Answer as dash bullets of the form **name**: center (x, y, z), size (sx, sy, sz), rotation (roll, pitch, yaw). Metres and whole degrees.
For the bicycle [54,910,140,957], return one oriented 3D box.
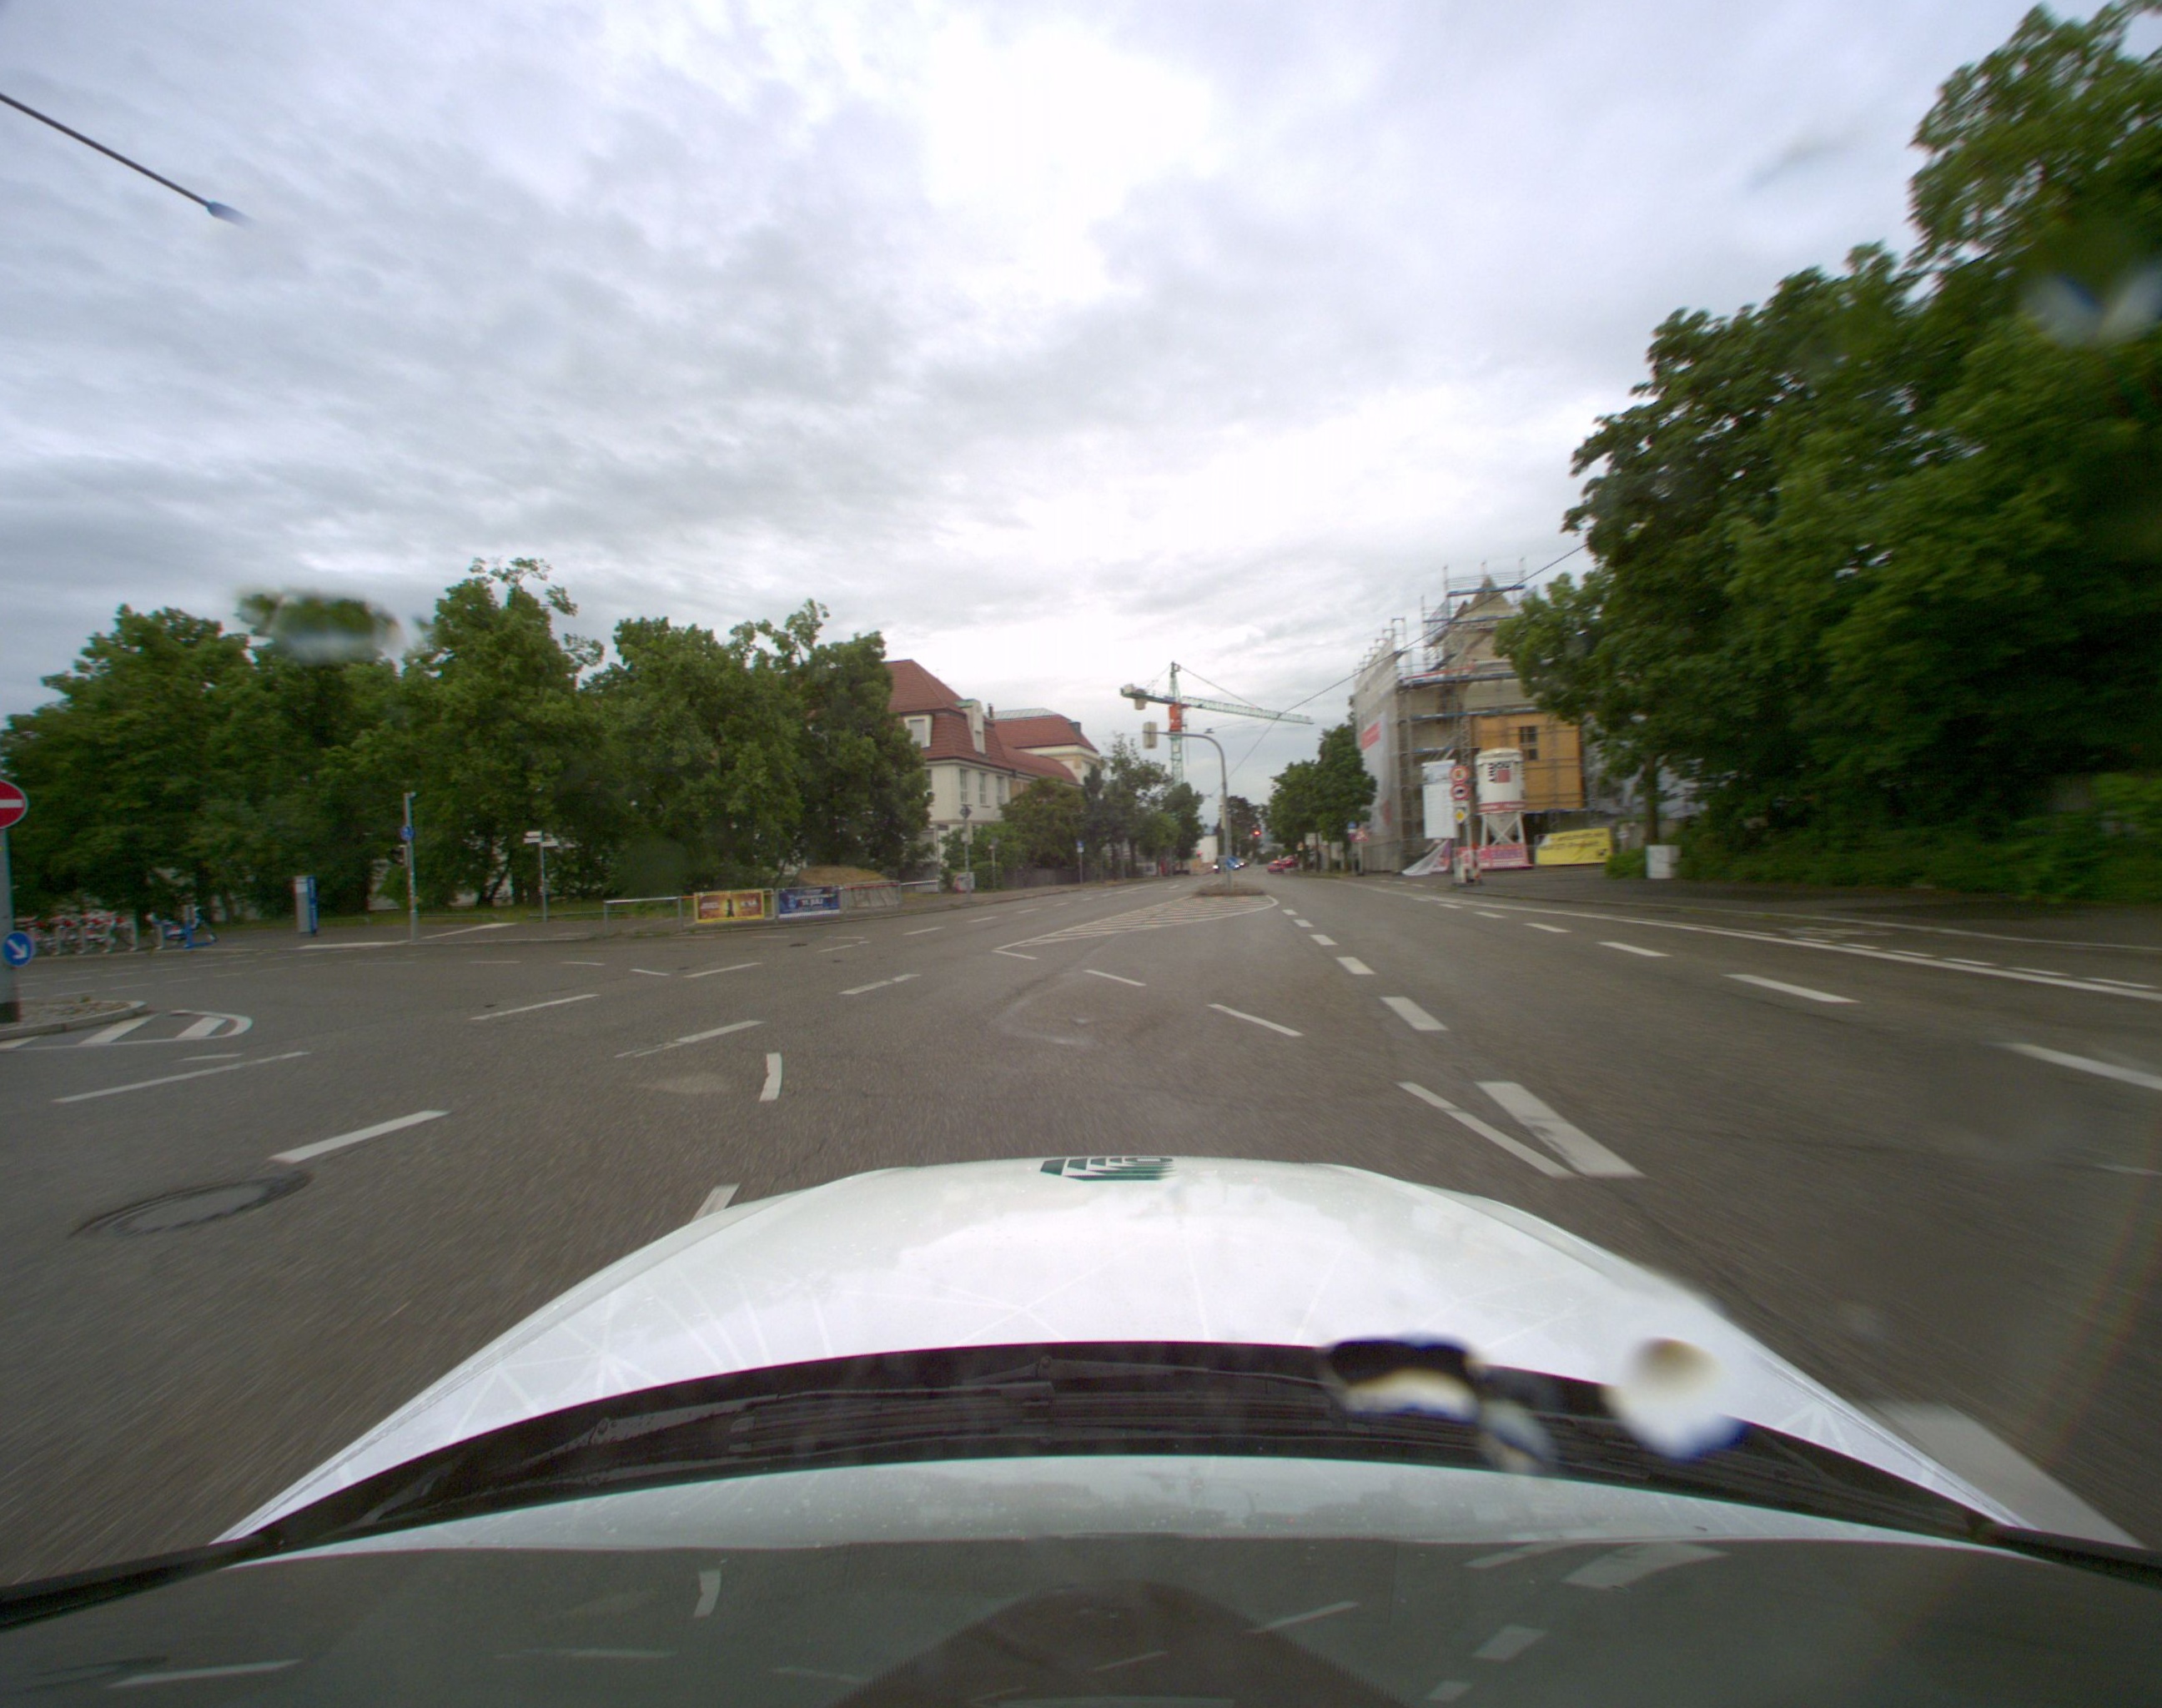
- **bicycle**: center (-29.393, 2.362, 24.363), size (0.552, 1.131, 1.492), rotation (-4, 3, 5)

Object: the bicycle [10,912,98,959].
- **bicycle**: center (-30.948, 2.443, 24.563), size (0.552, 1.131, 1.492), rotation (-4, 3, 5)

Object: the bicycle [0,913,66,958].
- **bicycle**: center (-32.086, 2.480, 24.681), size (0.552, 1.131, 1.492), rotation (-4, 3, 5)

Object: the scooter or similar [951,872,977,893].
- **scooter or similar**: center (-5.547, 1.362, 38.595), size (1.095, 0.954, 0.532), rotation (0, -2, -39)

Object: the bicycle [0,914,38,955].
- **bicycle**: center (-33.052, 2.510, 24.747), size (0.552, 1.131, 1.492), rotation (-4, 3, 5)

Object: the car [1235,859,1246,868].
- **car**: center (28.627, 1.658, 146.343), size (1.488, 1.448, 3.496), rotation (-2, 0, 17)

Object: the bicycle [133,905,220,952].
- **bicycle**: center (-26.757, 2.181, 24.123), size (0.552, 1.131, 1.603), rotation (-4, 3, 5)

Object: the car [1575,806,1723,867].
- **car**: center (20.869, -0.597, 30.046), size (2.009, 2.013, 3.956), rotation (-3, 0, -35)

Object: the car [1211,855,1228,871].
- **car**: center (19.925, 1.269, 116.898), size (1.820, 2.211, 4.018), rotation (-2, 0, 17)

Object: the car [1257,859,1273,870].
- **car**: center (26.188, 1.500, 115.814), size (1.762, 1.439, 3.889), rotation (-2, 0, 17)

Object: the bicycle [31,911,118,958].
- **bicycle**: center (-30.191, 2.400, 24.467), size (0.552, 1.131, 1.492), rotation (-4, 3, 5)

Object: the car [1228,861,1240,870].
- **car**: center (24.967, 1.868, 132.877), size (1.563, 1.461, 3.553), rotation (-2, 0, 17)

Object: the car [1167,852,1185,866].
- **car**: center (14.522, 0.802, 124.743), size (1.978, 2.013, 4.018), rotation (-2, 0, 17)
